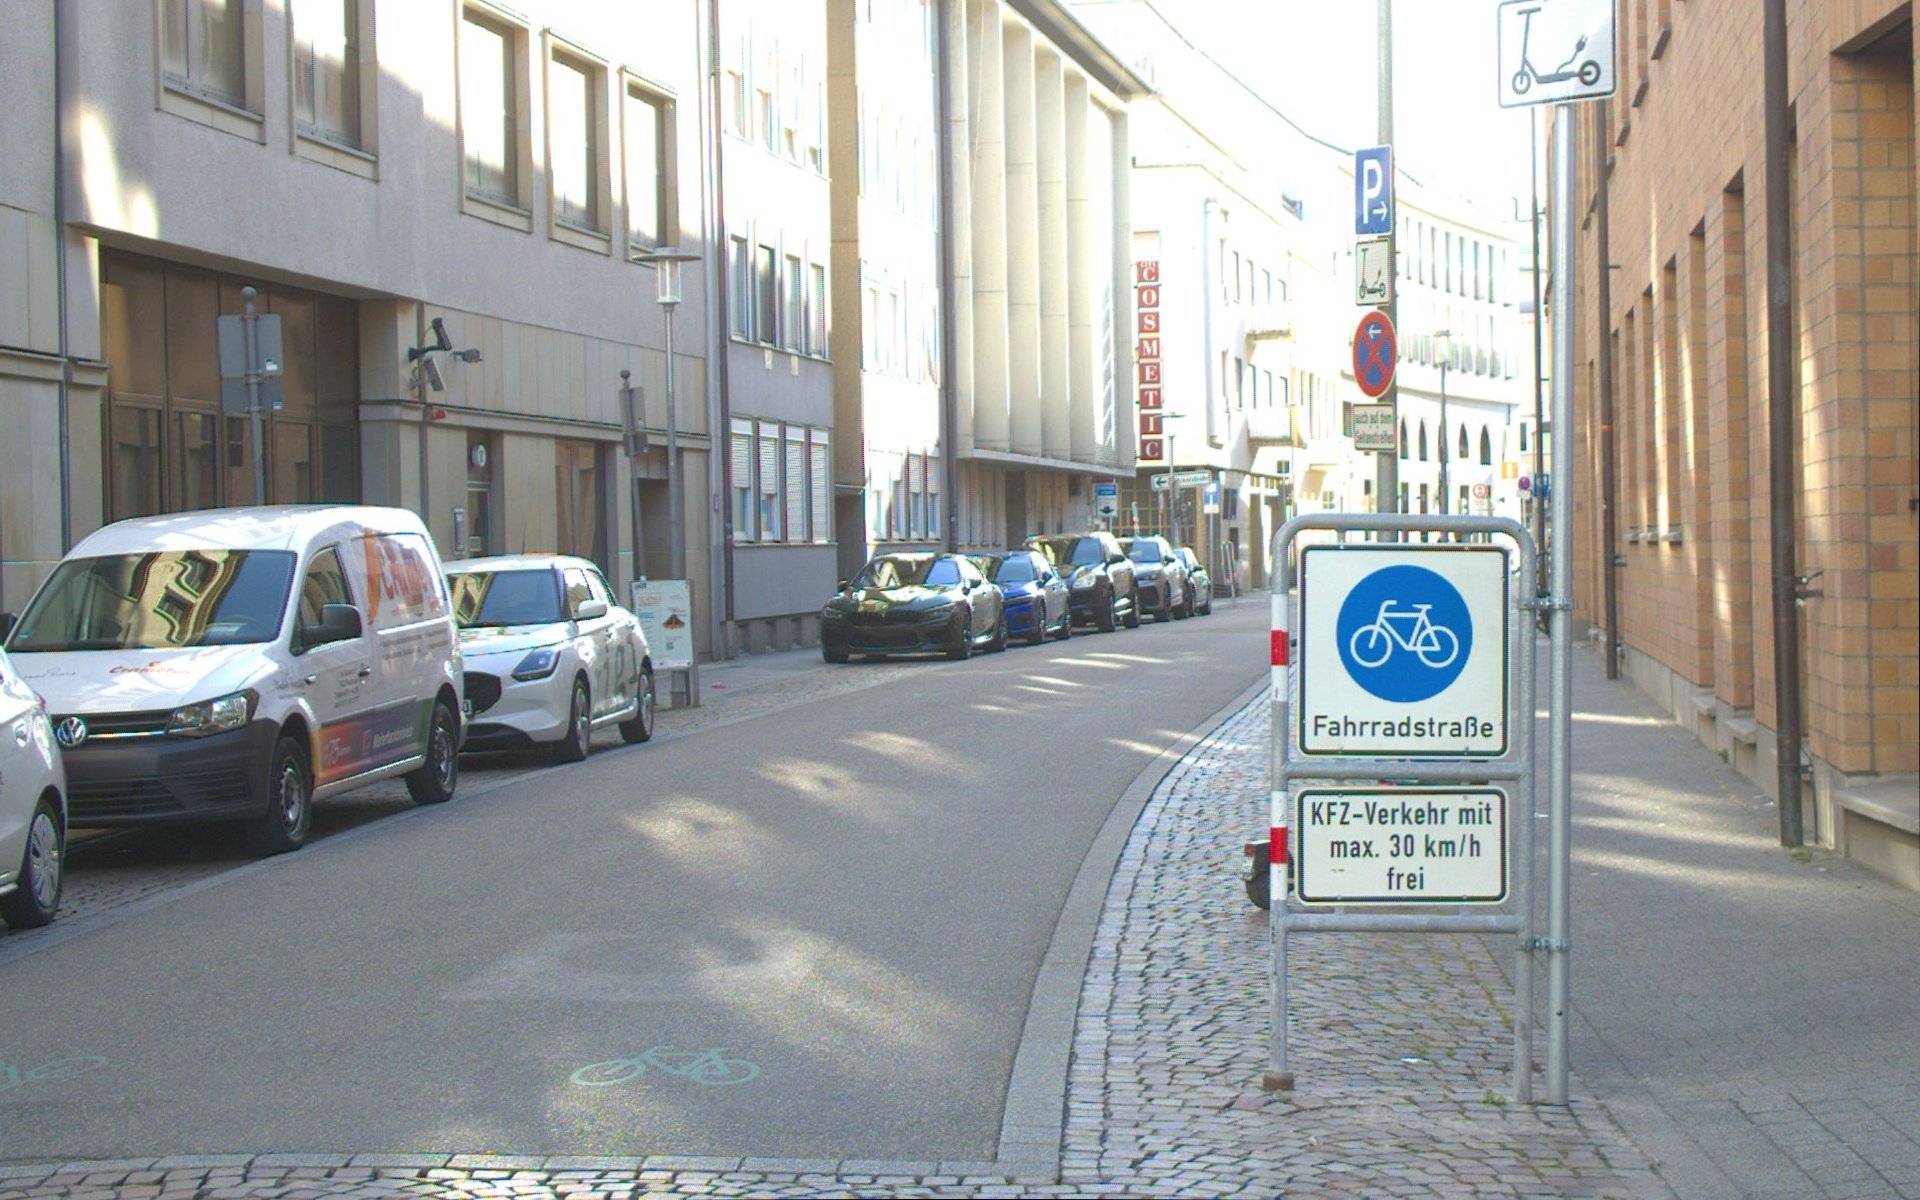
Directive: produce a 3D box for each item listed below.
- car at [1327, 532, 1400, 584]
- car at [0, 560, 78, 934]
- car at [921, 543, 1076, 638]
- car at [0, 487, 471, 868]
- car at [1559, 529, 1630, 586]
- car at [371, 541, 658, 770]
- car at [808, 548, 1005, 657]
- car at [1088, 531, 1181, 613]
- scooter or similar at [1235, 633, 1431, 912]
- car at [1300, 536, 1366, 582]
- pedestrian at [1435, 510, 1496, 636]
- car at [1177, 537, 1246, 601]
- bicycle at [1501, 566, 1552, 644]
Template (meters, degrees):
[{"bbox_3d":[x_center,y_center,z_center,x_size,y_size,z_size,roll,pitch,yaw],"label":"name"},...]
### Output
[{"bbox_3d":[11.161,-1.170,94.932,1.690,1.365,3.616,-1,1,12],"label":"car"},{"bbox_3d":[-4.737,0.643,13.173,1.670,1.501,3.794,-2,1,0],"label":"car"},{"bbox_3d":[0.625,-0.167,52.126,1.725,1.336,3.999,-1,1,10],"label":"car"},{"bbox_3d":[-4.092,0.337,19.034,1.670,1.812,4.551,-2,1,5],"label":"car"},{"bbox_3d":[16.208,-1.099,87.744,1.690,1.365,3.616,-1,1,12],"label":"car"},{"bbox_3d":[-3.201,0.354,25.223,1.271,1.501,3.401,-2,1,6],"label":"car"},{"bbox_3d":[-0.656,0.008,45.632,1.882,1.327,4.099,-1,1,10],"label":"car"},{"bbox_3d":[3.329,-0.547,65.270,1.339,1.489,3.509,-1,1,10],"label":"car"},{"bbox_3d":[1.563,0.720,14.442,0.771,1.132,0.269,2,0,2],"label":"scooter or similar"},{"bbox_3d":[11.678,-1.301,107.570,1.690,1.365,3.616,-1,1,12],"label":"car"},{"bbox_3d":[7.063,-0.377,48.065,0.664,1.724,0.840,2,0,-1],"label":"pedestrian"},{"bbox_3d":[6.062,-0.758,82.687,1.339,1.489,3.346,-1,1,10],"label":"car"},{"bbox_3d":[7.655,0.053,46.528,0.511,0.990,2.647,0,1,6],"label":"bicycle"}]
